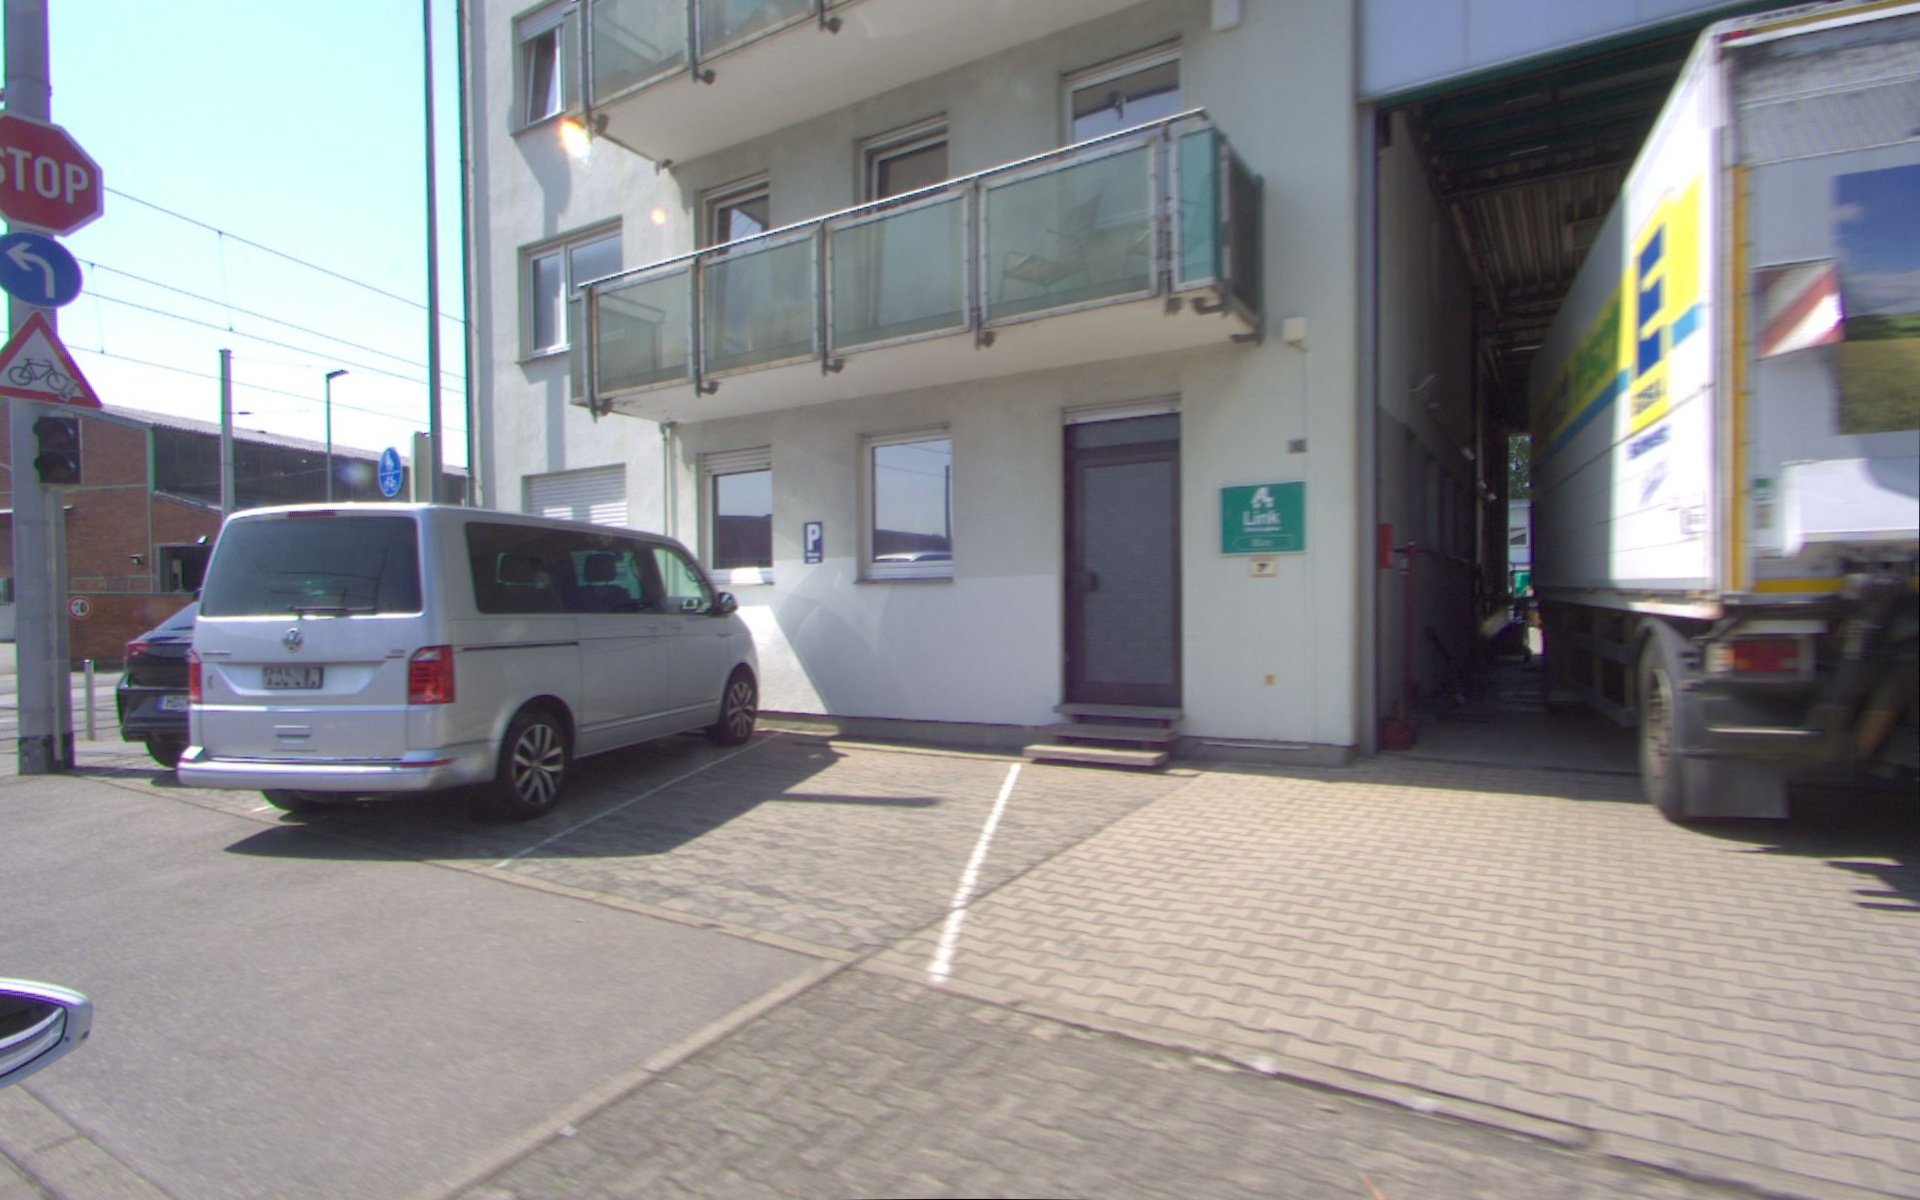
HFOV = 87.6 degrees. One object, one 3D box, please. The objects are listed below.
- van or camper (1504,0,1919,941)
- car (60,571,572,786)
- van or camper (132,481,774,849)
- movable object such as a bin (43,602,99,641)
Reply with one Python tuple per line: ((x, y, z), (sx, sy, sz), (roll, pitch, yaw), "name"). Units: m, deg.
((6.665, -0.637, 8.680), (2.736, 3.742, 11.596), (0, 0, 25), "van or camper")
((-5.478, 0.602, 9.254), (1.844, 1.541, 3.973), (-1, -1, 7), "car")
((-3.247, 0.351, 7.694), (1.962, 1.933, 4.552), (0, 0, 12), "van or camper")
((-30.833, 0.738, 34.755), (1.131, 1.331, 0.976), (-1, 1, 16), "movable object such as a bin")
